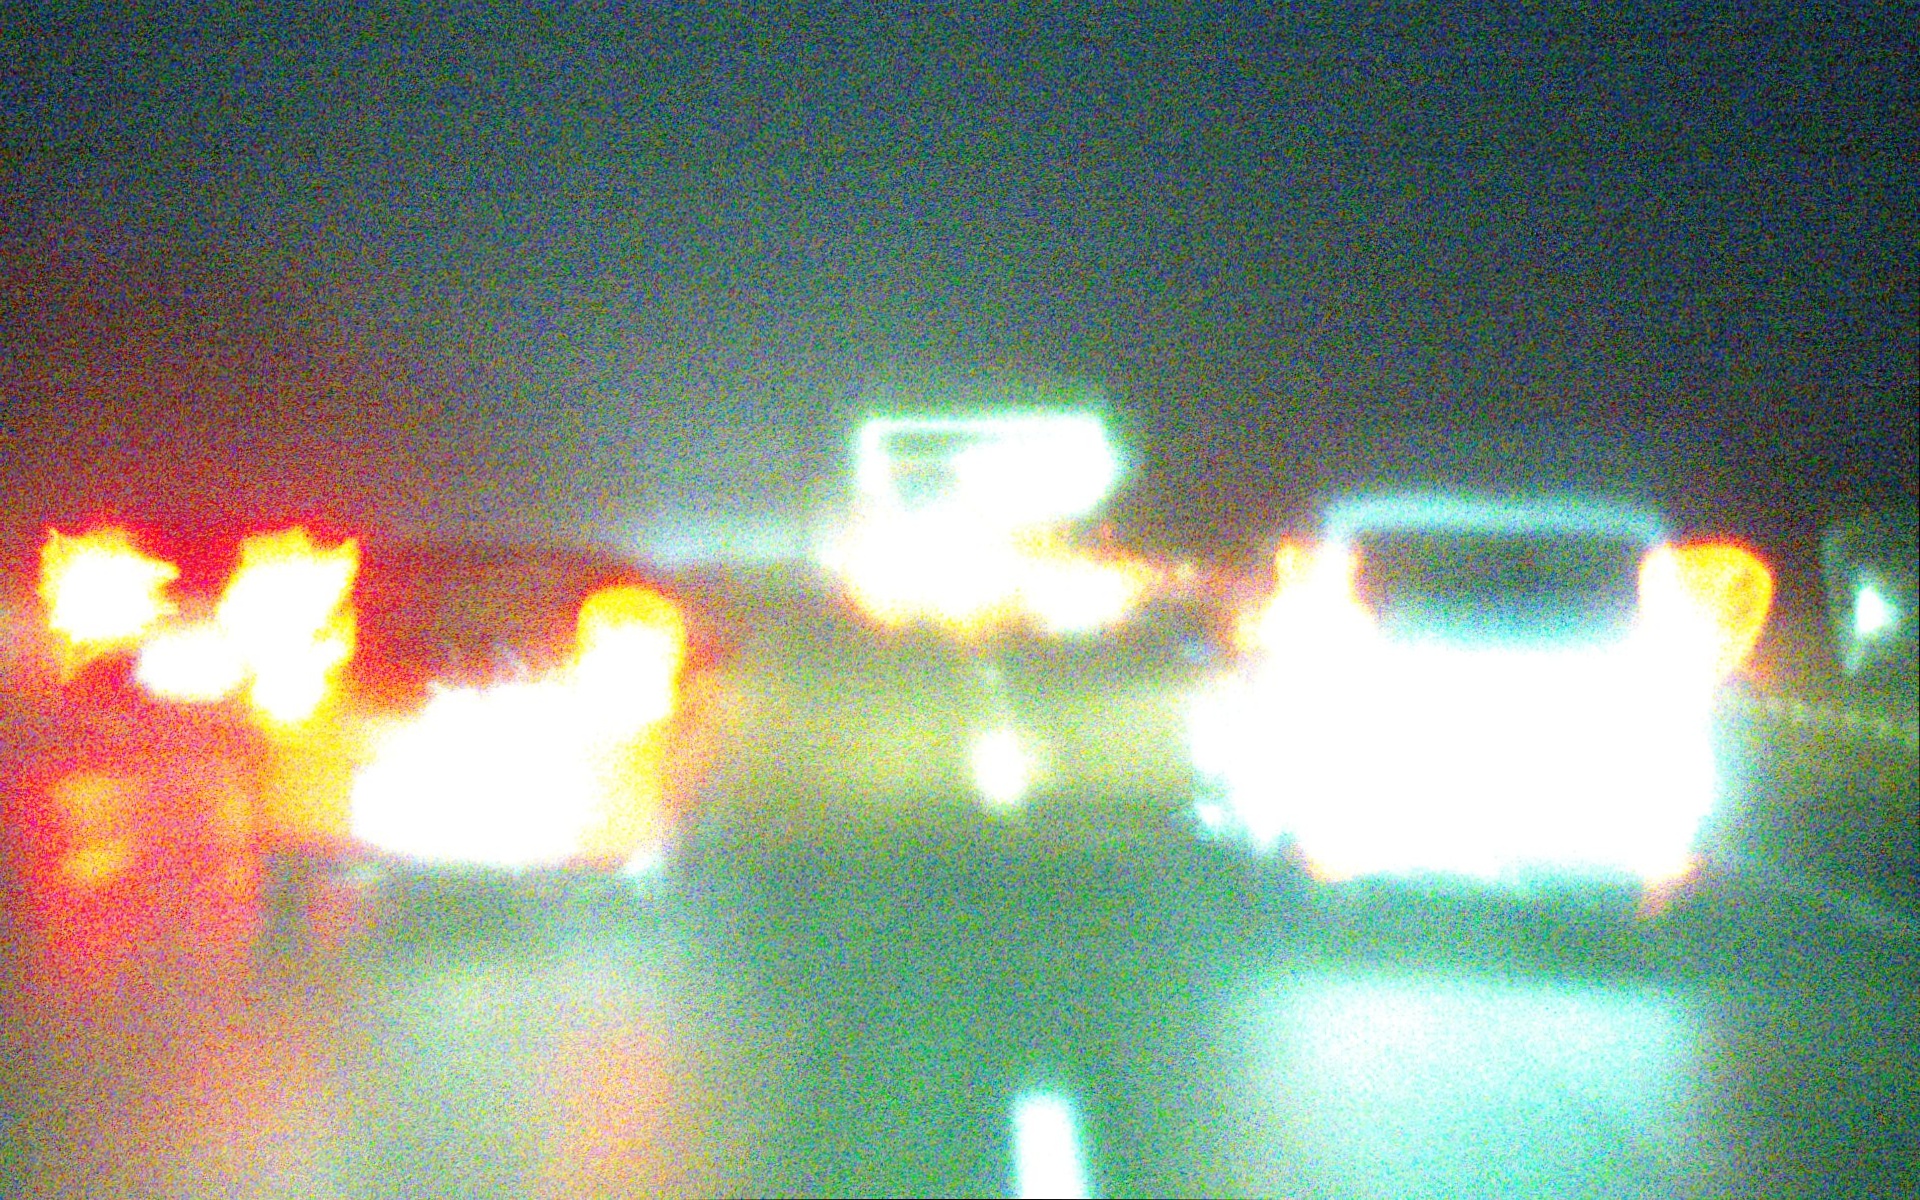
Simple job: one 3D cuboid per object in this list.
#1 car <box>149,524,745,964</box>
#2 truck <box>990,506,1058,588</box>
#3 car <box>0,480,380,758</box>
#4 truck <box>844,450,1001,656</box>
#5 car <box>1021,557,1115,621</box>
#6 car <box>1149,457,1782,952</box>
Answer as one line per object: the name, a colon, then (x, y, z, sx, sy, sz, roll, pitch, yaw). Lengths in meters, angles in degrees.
car: (-2.031, 0.523, 14.839, 1.916, 1.589, 4.233, -1, 0, 0)
truck: (3.963, -3.287, 216.514, 3.824, 4.898, 11.606, -2, 0, 0)
car: (-5.607, 0.114, 24.696, 1.993, 1.771, 4.887, -1, 0, 0)
truck: (-1.063, -1.310, 99.959, 4.167, 5.525, 13.074, -1, 0, 0)
car: (2.422, -0.268, 78.037, 1.889, 1.349, 4.000, 2, 1, -1)
car: (2.008, 0.371, 15.252, 1.953, 1.786, 5.124, -1, 0, -1)
